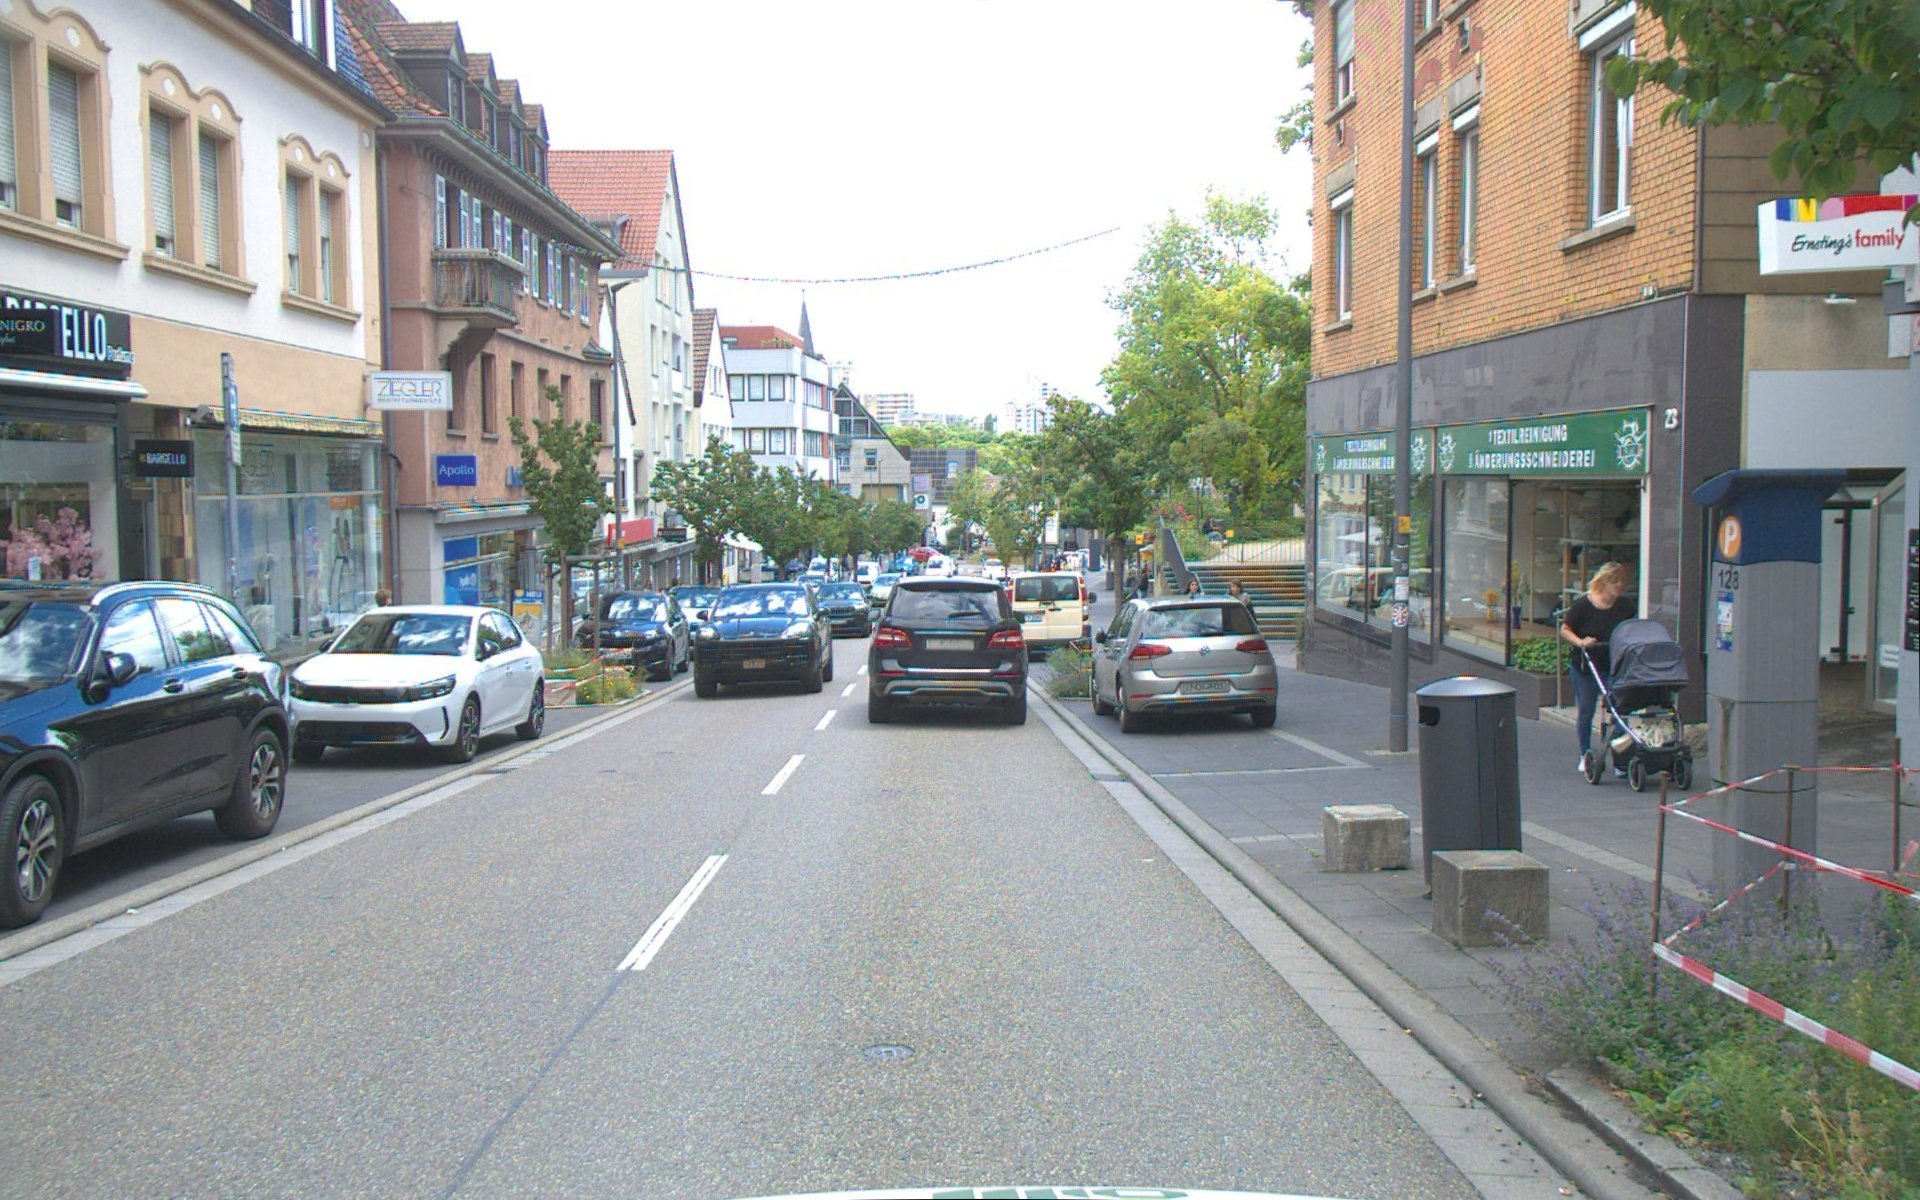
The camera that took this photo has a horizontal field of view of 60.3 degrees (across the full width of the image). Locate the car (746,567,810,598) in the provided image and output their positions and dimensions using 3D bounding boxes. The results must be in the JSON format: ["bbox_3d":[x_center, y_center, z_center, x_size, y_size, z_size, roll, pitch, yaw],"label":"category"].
[{"bbox_3d":[-11.584,-1.147,105.504,3.909,1.780,1.998,-3,1,-5],"label":"car"}]

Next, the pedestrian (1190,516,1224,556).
[{"bbox_3d":[7.942,-2.066,53.169,0.970,1.252,0.984,0,0,1],"label":"pedestrian"}]

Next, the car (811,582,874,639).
[{"bbox_3d":[-3.518,0.285,50.070,1.729,1.645,4.031,0,0,-2],"label":"car"}]

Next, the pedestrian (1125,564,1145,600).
[{"bbox_3d":[9.817,-0.997,92.960,1.027,1.946,0.937,-2,0,6],"label":"pedestrian"}]

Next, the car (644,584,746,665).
[{"bbox_3d":[-5.984,0.508,37.826,1.889,1.623,4.455,2,1,-4],"label":"car"}]

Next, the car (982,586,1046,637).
[{"bbox_3d":[1.732,0.343,54.544,1.898,1.482,4.707,-1,1,0],"label":"car"}]

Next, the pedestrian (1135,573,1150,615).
[{"bbox_3d":[7.212,-0.236,65.242,0.556,1.614,0.666,-1,0,7],"label":"pedestrian"}]

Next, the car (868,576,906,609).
[{"bbox_3d":[-3.487,-0.373,79.703,1.776,1.534,3.999,-1,1,-2],"label":"car"}]

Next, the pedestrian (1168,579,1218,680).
[{"bbox_3d":[3.935,0.485,28.018,0.658,1.661,0.669,-2,0,-3],"label":"pedestrian"}]

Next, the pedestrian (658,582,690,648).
[{"bbox_3d":[-7.494,0.387,43.354,0.712,1.696,0.720,0,0,-2],"label":"pedestrian"}]

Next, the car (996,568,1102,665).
[{"bbox_3d":[1.907,0.292,36.818,1.899,1.924,4.706,-2,1,-2],"label":"car"}]

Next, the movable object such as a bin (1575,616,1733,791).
[{"bbox_3d":[5.037,0.728,12.054,0.707,1.178,0.906,-3,0,-2],"label":"movable object such as a bin"}]

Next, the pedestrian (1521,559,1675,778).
[{"bbox_3d":[4.978,0.514,12.964,0.720,1.612,1.000,-3,0,-2],"label":"pedestrian"}]

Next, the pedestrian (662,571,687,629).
[{"bbox_3d":[-8.361,-0.001,48.404,0.628,1.696,0.720,0,0,-2],"label":"pedestrian"}]

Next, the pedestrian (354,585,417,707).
[{"bbox_3d":[-7.840,0.611,22.602,0.536,1.603,0.863,-1,1,-2],"label":"pedestrian"}]

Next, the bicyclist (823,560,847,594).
[{"bbox_3d":[-6.182,-1.129,81.851,0.952,1.637,0.724,-3,1,-28],"label":"bicyclist"}]

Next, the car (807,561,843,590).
[{"bbox_3d":[-7.997,-1.468,98.234,1.888,1.657,4.412,2,1,-3],"label":"car"}]

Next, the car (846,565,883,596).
[{"bbox_3d":[-5.475,-1.161,95.321,1.887,1.657,4.262,2,1,-1],"label":"car"}]

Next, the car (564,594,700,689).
[{"bbox_3d":[-5.948,0.698,30.431,1.888,1.523,4.259,-1,1,-4],"label":"car"}]

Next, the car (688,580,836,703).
[{"bbox_3d":[-3.082,0.589,26.615,1.952,1.748,4.445,-2,0,-2],"label":"car"}]

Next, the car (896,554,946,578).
[{"bbox_3d":[-3.431,-2.986,145.732,4.109,2.065,1.783,0,0,33],"label":"car"}]

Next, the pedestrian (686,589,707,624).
[{"bbox_3d":[-9.999,0.225,62.726,0.673,1.304,0.676,-1,0,-2],"label":"pedestrian"}]

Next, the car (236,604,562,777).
[{"bbox_3d":[-5.520,0.814,16.900,1.887,1.455,4.262,0,1,0],"label":"car"}]

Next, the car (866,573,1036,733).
[{"bbox_3d":[-0.127,0.569,20.815,1.904,1.770,4.178,1,1,-1],"label":"car"}]

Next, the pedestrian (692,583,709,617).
[{"bbox_3d":[-10.067,-0.003,64.086,0.553,1.304,0.758,0,0,-2],"label":"pedestrian"}]

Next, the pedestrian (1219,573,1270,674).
[{"bbox_3d":[4.843,0.390,28.211,0.658,1.661,0.669,-2,0,-3],"label":"pedestrian"}]

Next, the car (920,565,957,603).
[{"bbox_3d":[-1.384,-1.030,108.672,2.128,2.405,4.624,0,0,3],"label":"car"}]

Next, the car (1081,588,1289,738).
[{"bbox_3d":[2.526,0.651,19.482,1.713,1.491,4.073,-3,0,-2],"label":"car"}]

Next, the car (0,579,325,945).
[{"bbox_3d":[-5.349,0.711,9.301,1.888,1.649,4.637,1,0,-2],"label":"car"}]
